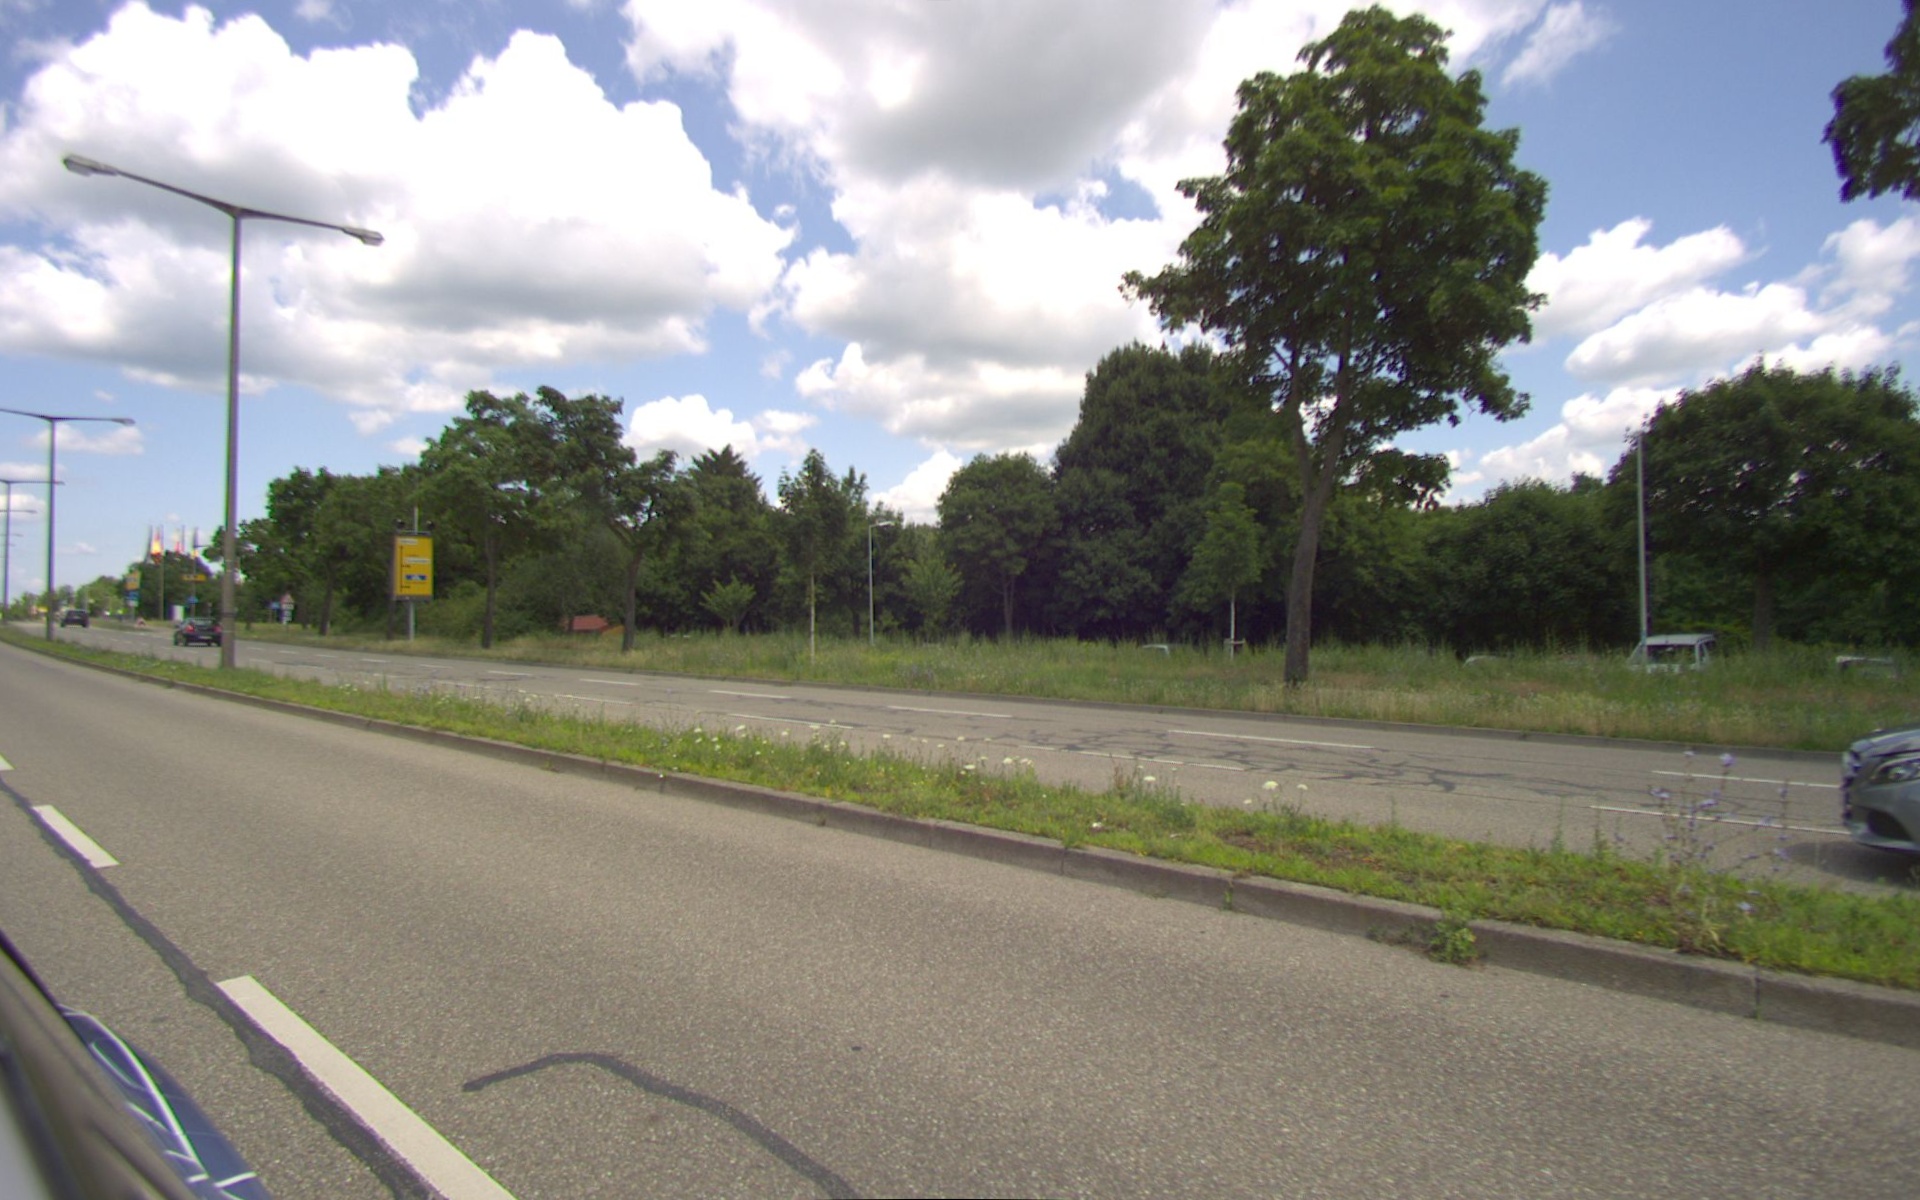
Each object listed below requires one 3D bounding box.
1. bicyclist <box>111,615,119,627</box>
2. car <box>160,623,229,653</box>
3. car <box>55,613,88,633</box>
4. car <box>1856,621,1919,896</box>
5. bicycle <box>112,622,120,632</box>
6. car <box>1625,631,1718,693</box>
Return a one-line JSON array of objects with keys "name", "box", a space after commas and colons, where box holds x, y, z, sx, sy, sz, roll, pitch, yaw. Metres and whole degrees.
[{"name": "bicyclist", "box": [-94.274, 2.381, 112.919, 1.106, 1.282, 0.515, -3, -2, 42]}, {"name": "car", "box": [-39.238, 1.930, 51.874, 3.664, 1.438, 1.687, -1, -2, 33]}, {"name": "car", "box": [-86.939, 2.254, 99.016, 4.728, 1.804, 1.856, -1, -4, 42]}, {"name": "car", "box": [7.140, 0.757, 4.434, 4.731, 1.409, 1.791, -3, -3, 41]}, {"name": "bicycle", "box": [-94.176, 3.011, 112.869, 1.907, 1.076, 0.427, -3, -2, 42]}, {"name": "car", "box": [21.353, 1.800, 30.313, 1.998, 1.638, 3.948, -3, -1, 39]}]
